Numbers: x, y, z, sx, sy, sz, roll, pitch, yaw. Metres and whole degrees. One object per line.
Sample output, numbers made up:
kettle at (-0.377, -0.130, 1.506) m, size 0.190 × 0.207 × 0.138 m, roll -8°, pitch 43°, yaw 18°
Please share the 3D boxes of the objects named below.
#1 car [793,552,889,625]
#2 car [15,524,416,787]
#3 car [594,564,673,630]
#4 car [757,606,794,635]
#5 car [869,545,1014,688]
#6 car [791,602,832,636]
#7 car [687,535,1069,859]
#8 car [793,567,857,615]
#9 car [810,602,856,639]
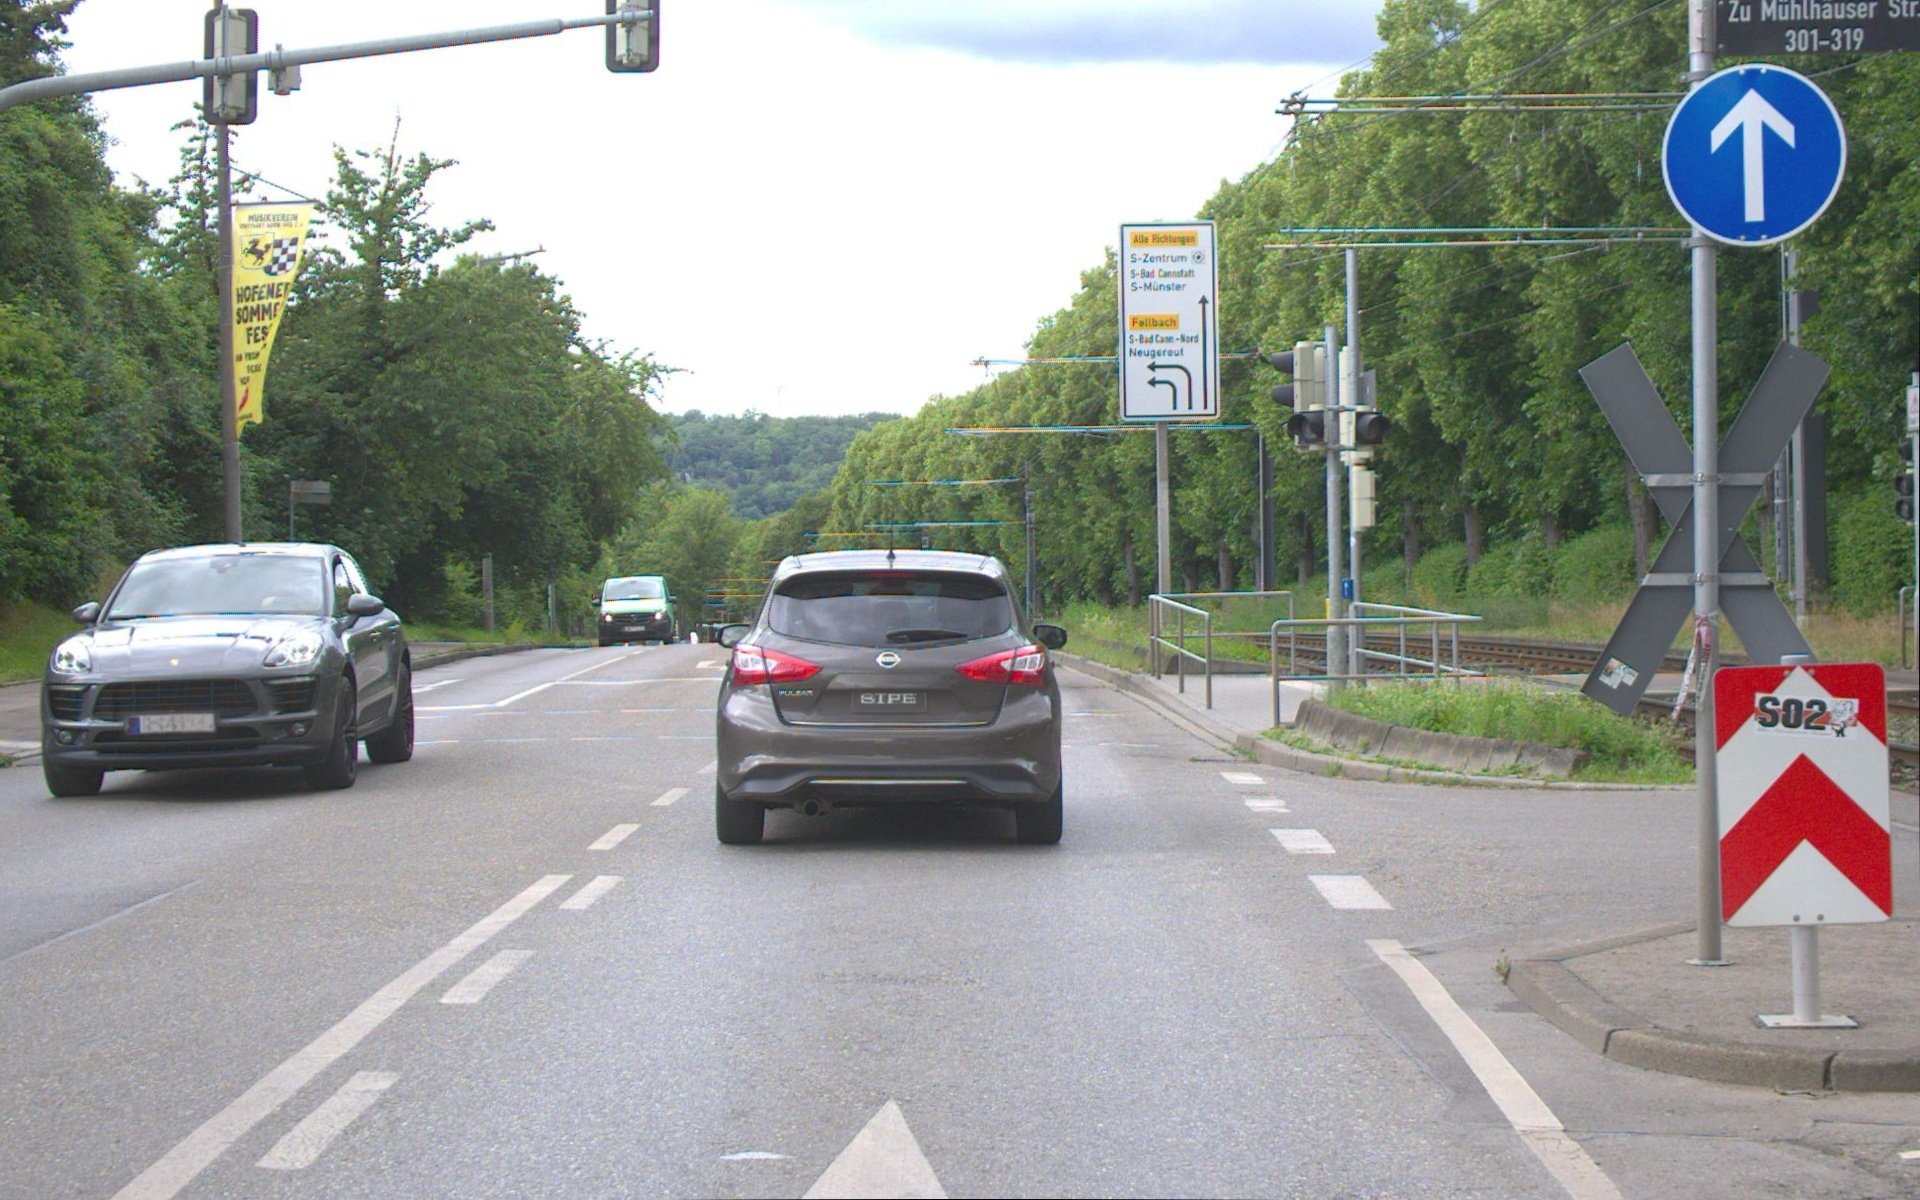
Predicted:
car at (-2.244, -0.242, 65.650) m, size 1.741 × 1.305 × 4.000 m, roll 1°, pitch 1°, yaw -1°
car at (-4.908, 0.338, 23.281) m, size 1.901 × 1.568 × 4.483 m, roll 1°, pitch 0°, yaw -3°
car at (-8.576, -0.092, 90.545) m, size 1.785 × 1.690 × 4.000 m, roll -1°, pitch 0°, yaw -2°
car at (-9.303, 1.023, 173.668) m, size 1.741 × 1.305 × 4.001 m, roll 2°, pitch 1°, yaw -2°
car at (-0.206, 0.142, 38.236) m, size 1.538 × 1.473 × 3.764 m, roll 0°, pitch 2°, yaw 0°
car at (-6.590, 0.838, 152.892) m, size 1.741 × 1.305 × 4.001 m, roll 2°, pitch 1°, yaw -2°
car at (-0.413, 0.431, 19.014) m, size 1.835 × 1.514 × 4.483 m, roll 1°, pitch 1°, yaw 0°
car at (-3.941, -0.274, 100.951) m, size 1.741 × 1.305 × 4.000 m, roll 1°, pitch 1°, yaw -1°
car at (-5.044, 0.817, 136.652) m, size 1.741 × 1.305 × 4.001 m, roll 2°, pitch 1°, yaw -2°
